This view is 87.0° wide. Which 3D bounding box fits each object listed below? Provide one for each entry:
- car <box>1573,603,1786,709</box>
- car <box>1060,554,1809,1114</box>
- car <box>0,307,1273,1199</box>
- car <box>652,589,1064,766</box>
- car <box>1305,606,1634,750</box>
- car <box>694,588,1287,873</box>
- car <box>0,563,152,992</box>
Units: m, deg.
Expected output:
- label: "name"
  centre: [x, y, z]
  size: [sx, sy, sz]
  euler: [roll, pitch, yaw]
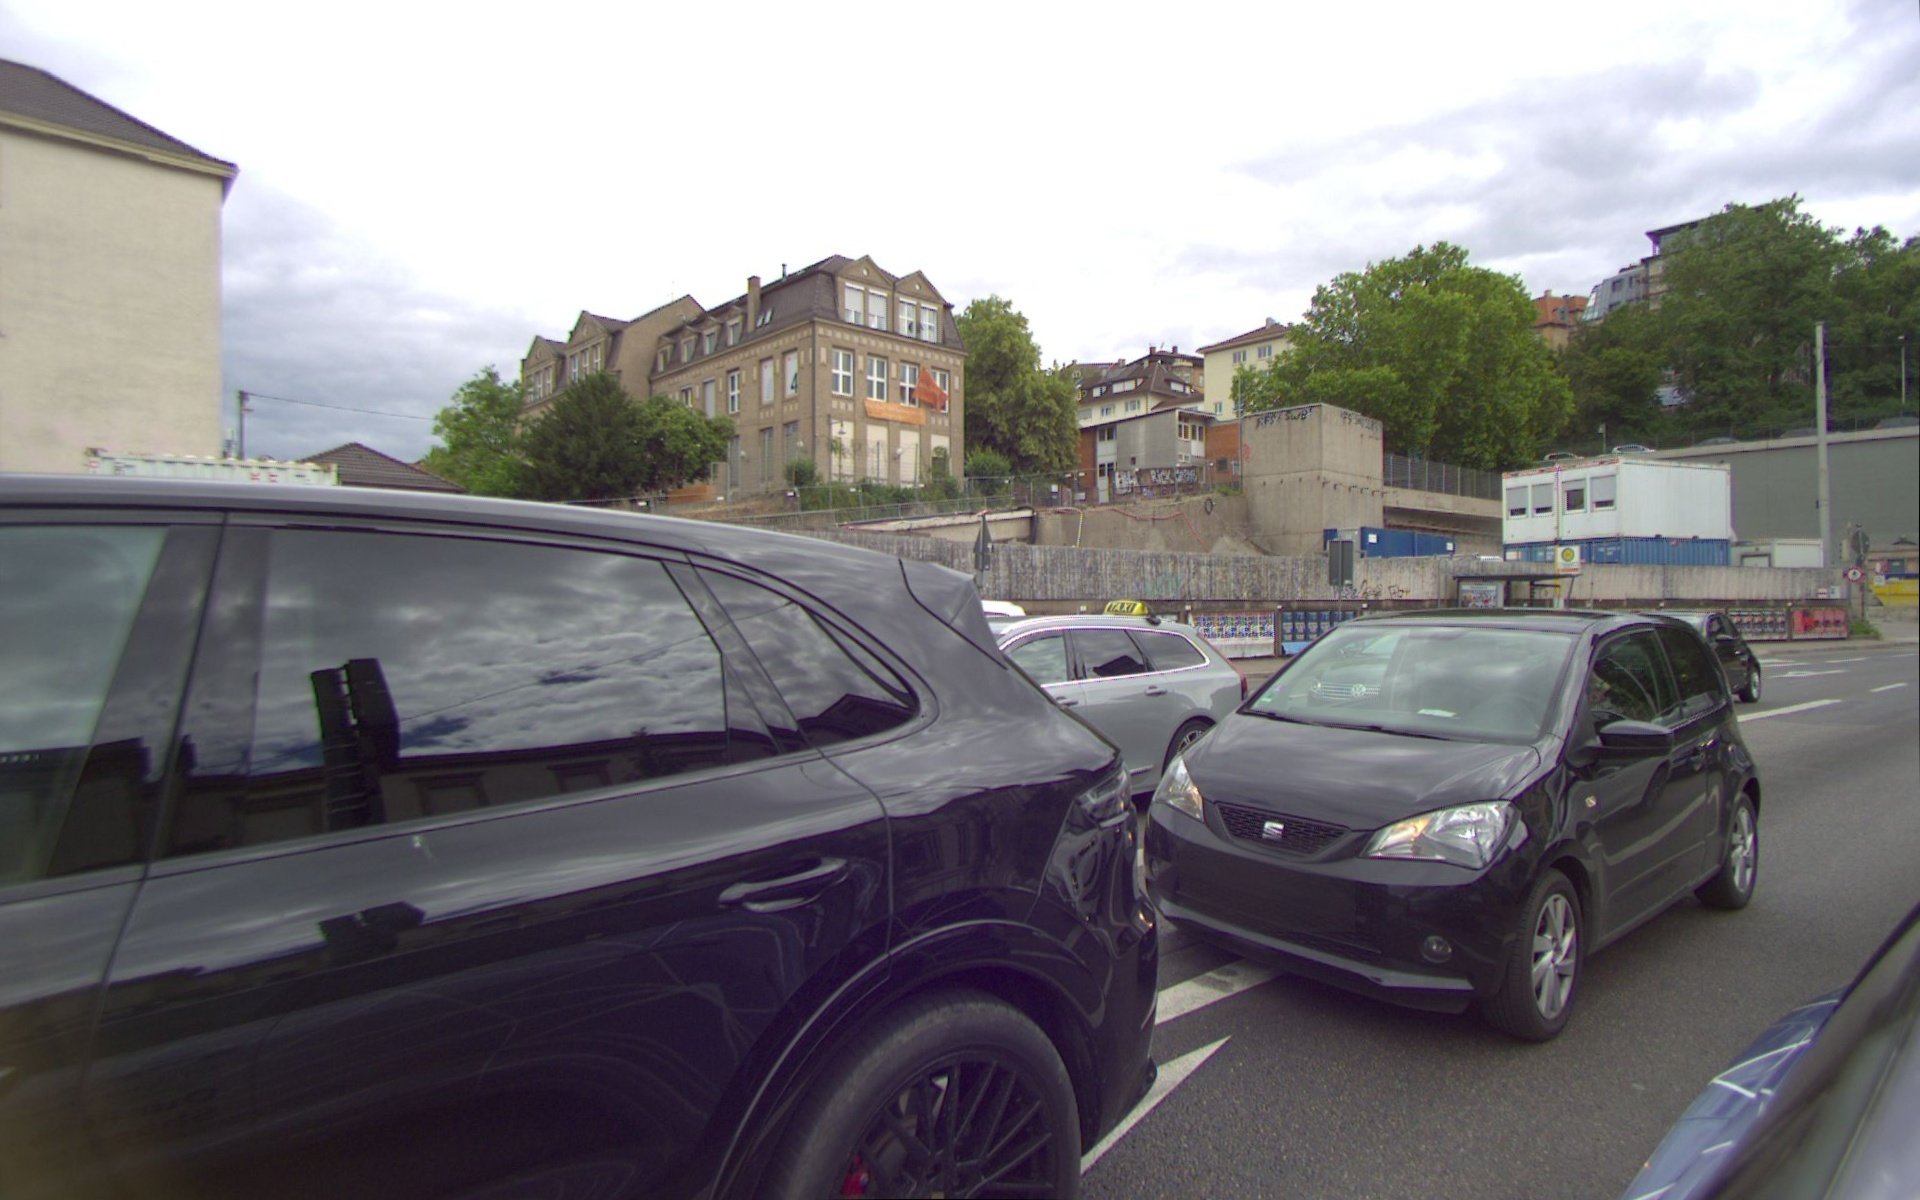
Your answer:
- label: "car"
  centre: [11.428, 0.809, 16.009]
  size: [3.711, 1.478, 1.721]
  euler: [1, -2, -38]
- label: "car"
  centre: [2.415, 0.636, 4.714]
  size: [3.841, 1.575, 1.661]
  euler: [-1, 0, -39]
- label: "car"
  centre: [-1.654, 0.560, 1.662]
  size: [4.497, 1.689, 1.998]
  euler: [-1, 0, -39]
- label: "car"
  centre: [-0.935, 0.639, 10.598]
  size: [4.004, 1.484, 1.824]
  euler: [-1, 0, -42]
- label: "car"
  centre: [6.028, 0.775, 11.800]
  size: [4.139, 1.381, 1.827]
  euler: [1, 0, -38]
- label: "car"
  centre: [0.404, 0.663, 7.335]
  size: [4.142, 1.484, 1.825]
  euler: [-1, 0, -40]
- label: "car"
  centre: [-5.058, 0.641, 3.453]
  size: [3.581, 1.529, 1.826]
  euler: [-1, 0, -39]
